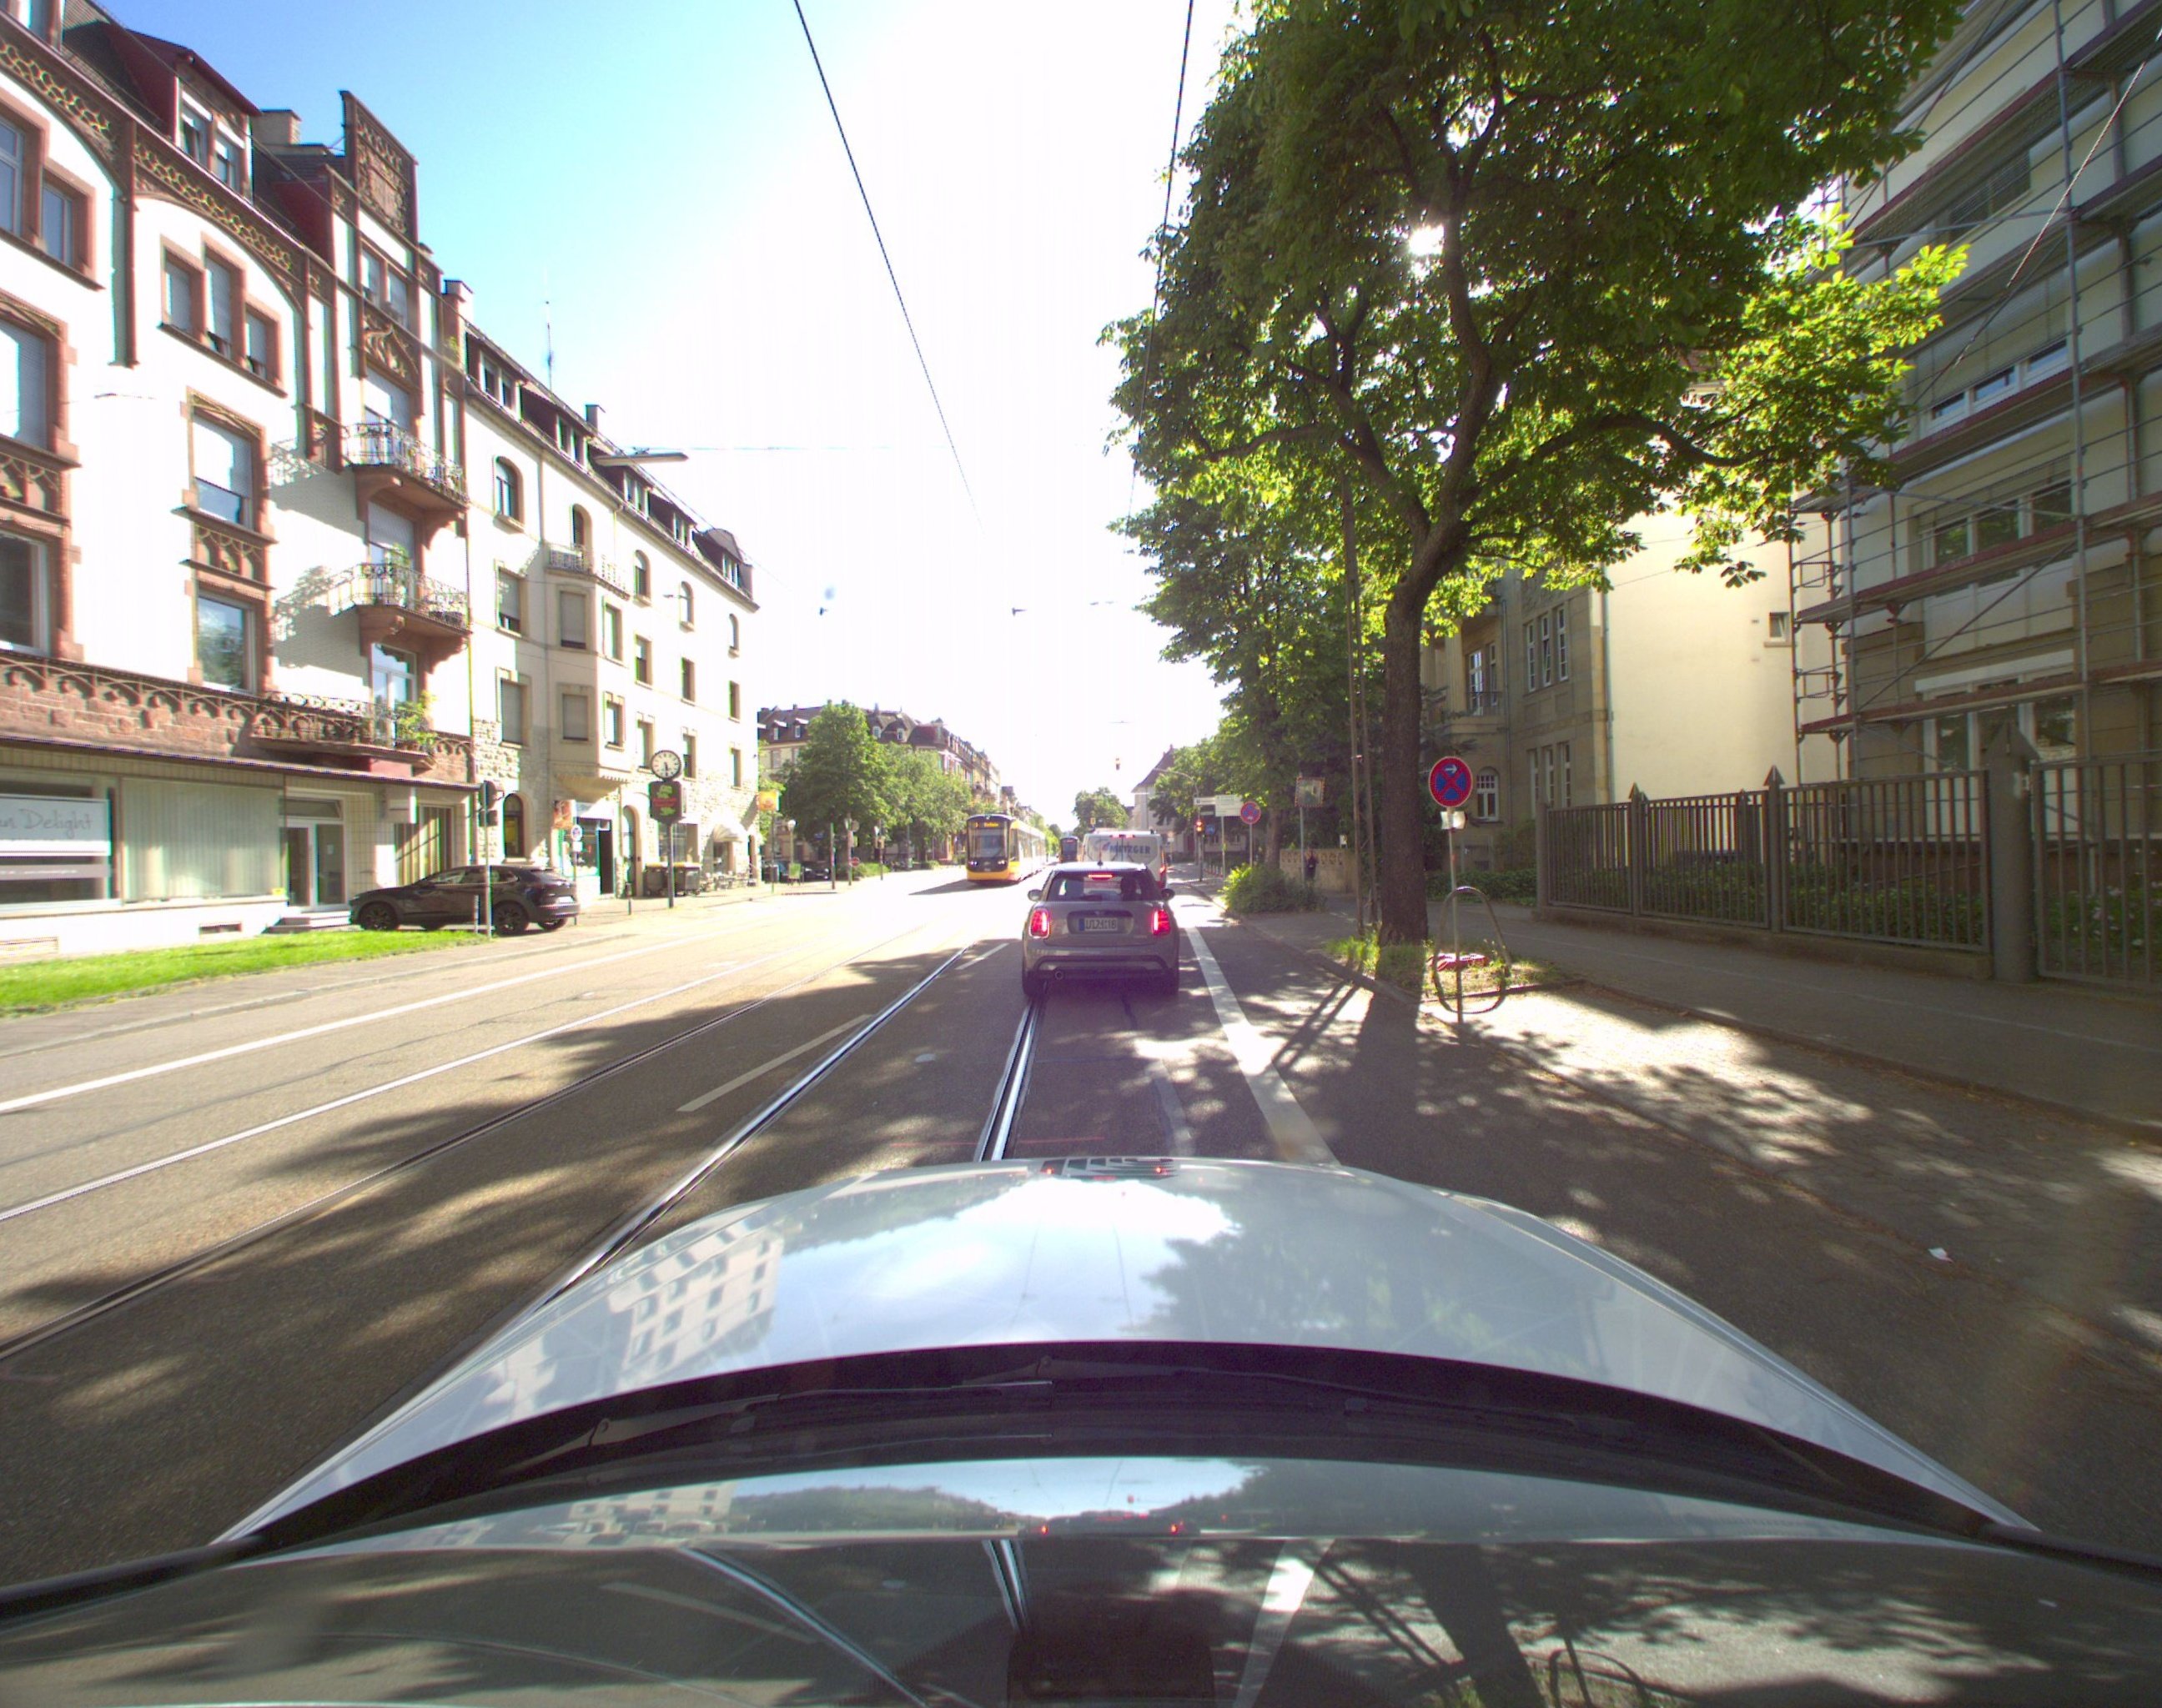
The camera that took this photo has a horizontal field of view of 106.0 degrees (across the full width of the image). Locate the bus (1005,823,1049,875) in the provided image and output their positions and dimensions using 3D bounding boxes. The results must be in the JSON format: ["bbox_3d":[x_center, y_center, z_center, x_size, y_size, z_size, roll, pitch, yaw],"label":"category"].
[{"bbox_3d":[-4.190,-0.299,65.857,2.841,3.777,12.193,0,0,0],"label":"bus"}]

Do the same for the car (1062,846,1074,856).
[{"bbox_3d":[-2.150,-0.528,134.516,1.859,1.563,3.997,0,-1,-2],"label":"car"}]

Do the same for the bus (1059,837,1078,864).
[{"bbox_3d":[-1.706,-0.437,108.399,2.379,3.496,7.377,0,-1,-2],"label":"bus"}]

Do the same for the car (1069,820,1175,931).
[{"bbox_3d":[0.895,0.449,18.746,2.110,2.208,4.946,0,-1,2],"label":"car"}]

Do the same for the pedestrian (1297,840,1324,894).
[{"bbox_3d":[7.310,0.411,25.931,0.590,1.671,0.647,-3,-1,1],"label":"pedestrian"}]

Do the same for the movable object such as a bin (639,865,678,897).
[{"bbox_3d":[-16.851,1.068,32.494,0.829,1.223,1.245,0,-1,4],"label":"movable object such as a bin"}]

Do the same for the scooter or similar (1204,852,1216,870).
[{"bbox_3d":[9.315,0.498,58.757,0.673,1.310,1.329,0,-1,1],"label":"scooter or similar"}]

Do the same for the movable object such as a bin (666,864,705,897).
[{"bbox_3d":[-15.916,1.048,32.793,0.941,1.273,1.145,0,-1,5],"label":"movable object such as a bin"}]

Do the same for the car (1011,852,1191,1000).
[{"bbox_3d":[0.261,0.744,10.218,1.808,1.488,4.001,0,-1,2],"label":"car"}]

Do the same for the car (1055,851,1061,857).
[{"bbox_3d":[-6.021,0.008,213.215,1.771,1.618,3.997,0,-1,-2],"label":"car"}]

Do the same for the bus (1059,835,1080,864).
[{"bbox_3d":[-1.431,-0.499,101.001,2.379,3.496,7.377,0,-1,-2],"label":"bus"}]

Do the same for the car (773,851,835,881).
[{"bbox_3d":[-19.495,0.828,57.244,3.949,2.014,2.012,-1,-1,30],"label":"car"}]

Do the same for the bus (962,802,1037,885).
[{"bbox_3d":[-4.035,-0.429,43.054,2.851,3.777,11.494,0,0,-1],"label":"bus"}]

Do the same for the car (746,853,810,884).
[{"bbox_3d":[-20.553,0.992,55.190,3.949,2.014,2.012,-1,-1,30],"label":"car"}]

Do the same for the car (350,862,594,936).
[{"bbox_3d":[-13.590,0.992,18.391,3.981,1.503,1.768,1,-1,-6],"label":"car"}]

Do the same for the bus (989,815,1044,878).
[{"bbox_3d":[-4.097,-0.393,54.312,2.851,3.777,11.179,0,-1,-1],"label":"bus"}]

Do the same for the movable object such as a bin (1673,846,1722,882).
[{"bbox_3d":[16.675,0.277,22.033,0.831,0.955,0.648,0,-1,0],"label":"movable object such as a bin"}]
